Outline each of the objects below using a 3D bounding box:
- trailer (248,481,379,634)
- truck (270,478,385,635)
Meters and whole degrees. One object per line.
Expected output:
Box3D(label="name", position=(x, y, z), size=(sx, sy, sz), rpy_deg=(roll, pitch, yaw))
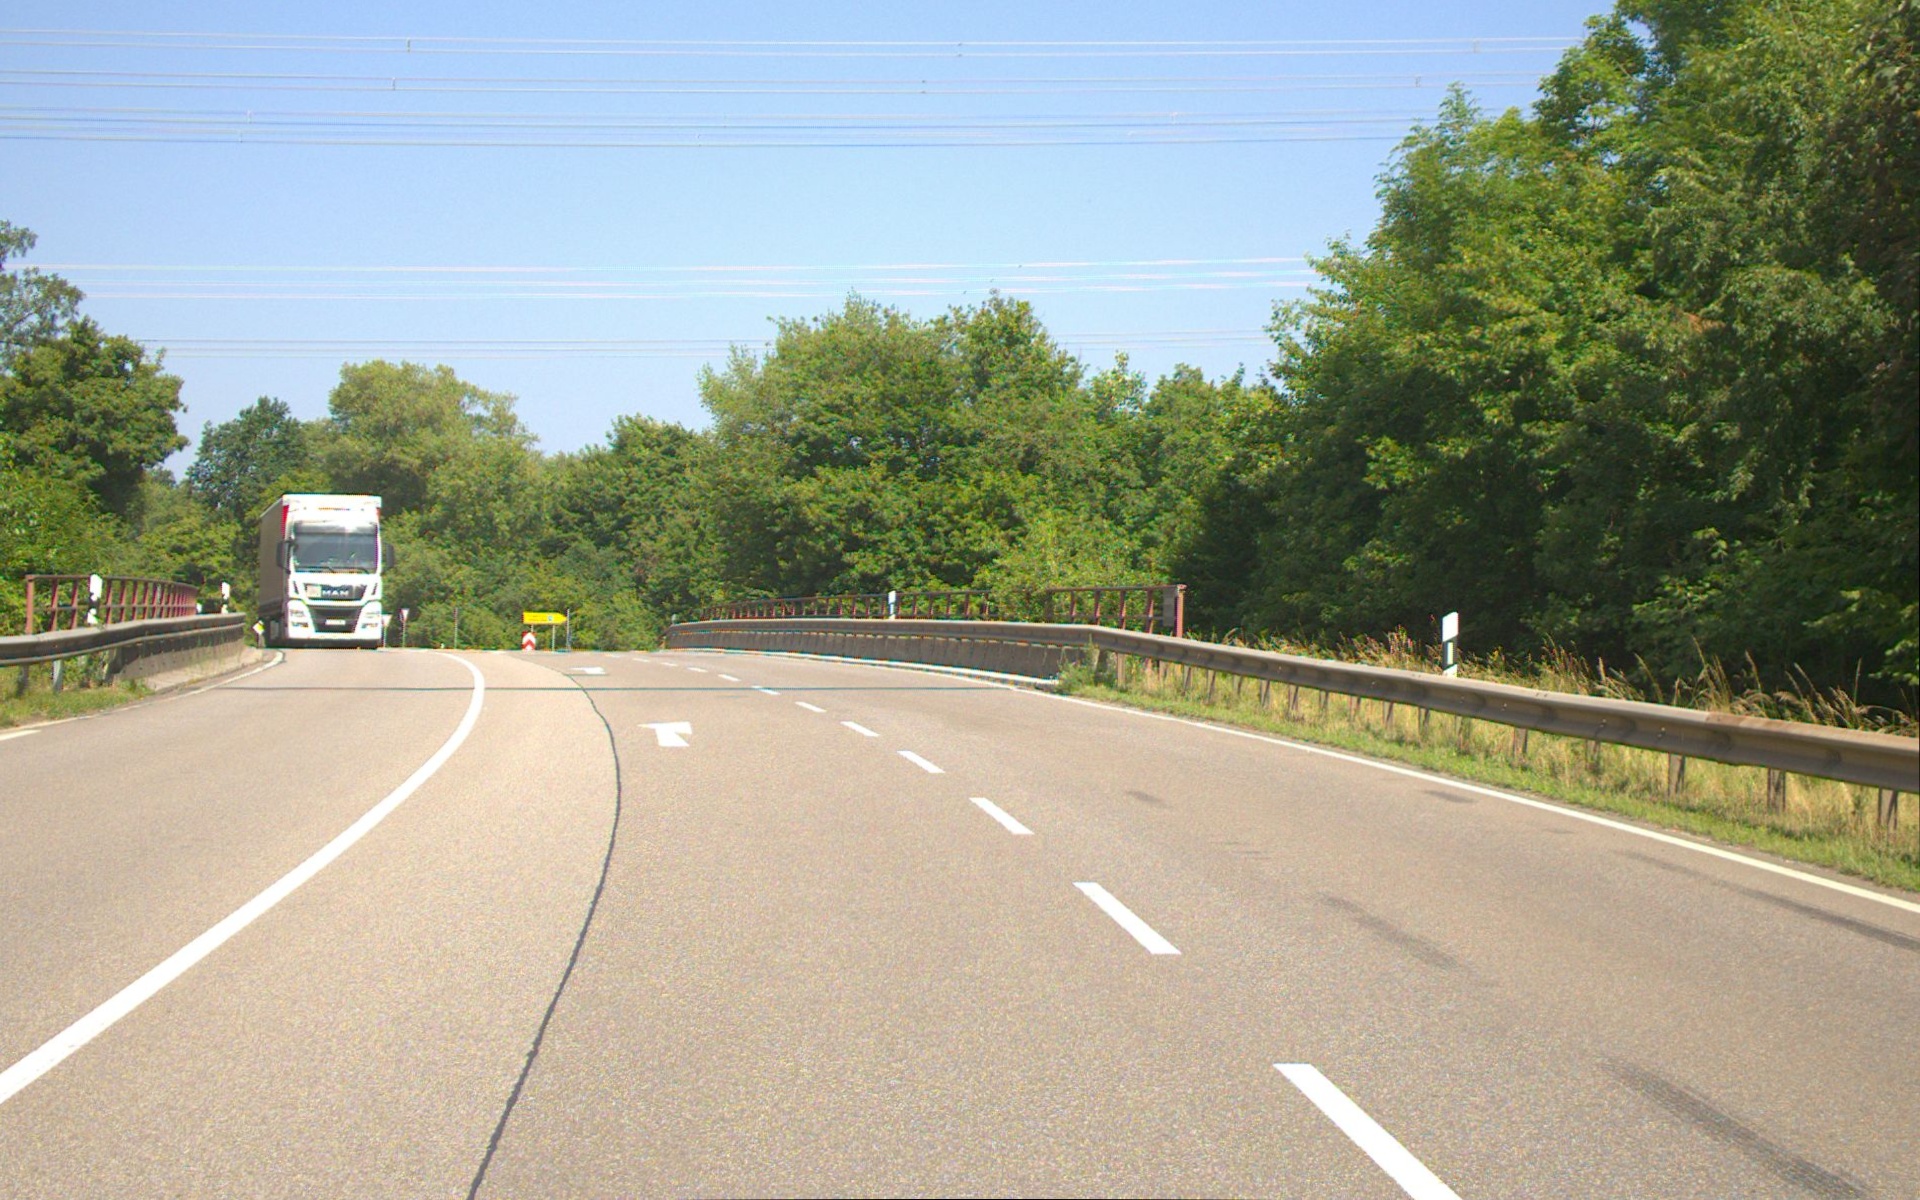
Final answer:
Box3D(label="trailer", position=(-18.602, -1.100, 98.258), size=(2.767, 4.048, 14.204), rpy_deg=(0, 0, -14))
Box3D(label="truck", position=(-16.862, -1.119, 91.395), size=(2.768, 4.020, 5.857), rpy_deg=(0, 0, -13))
